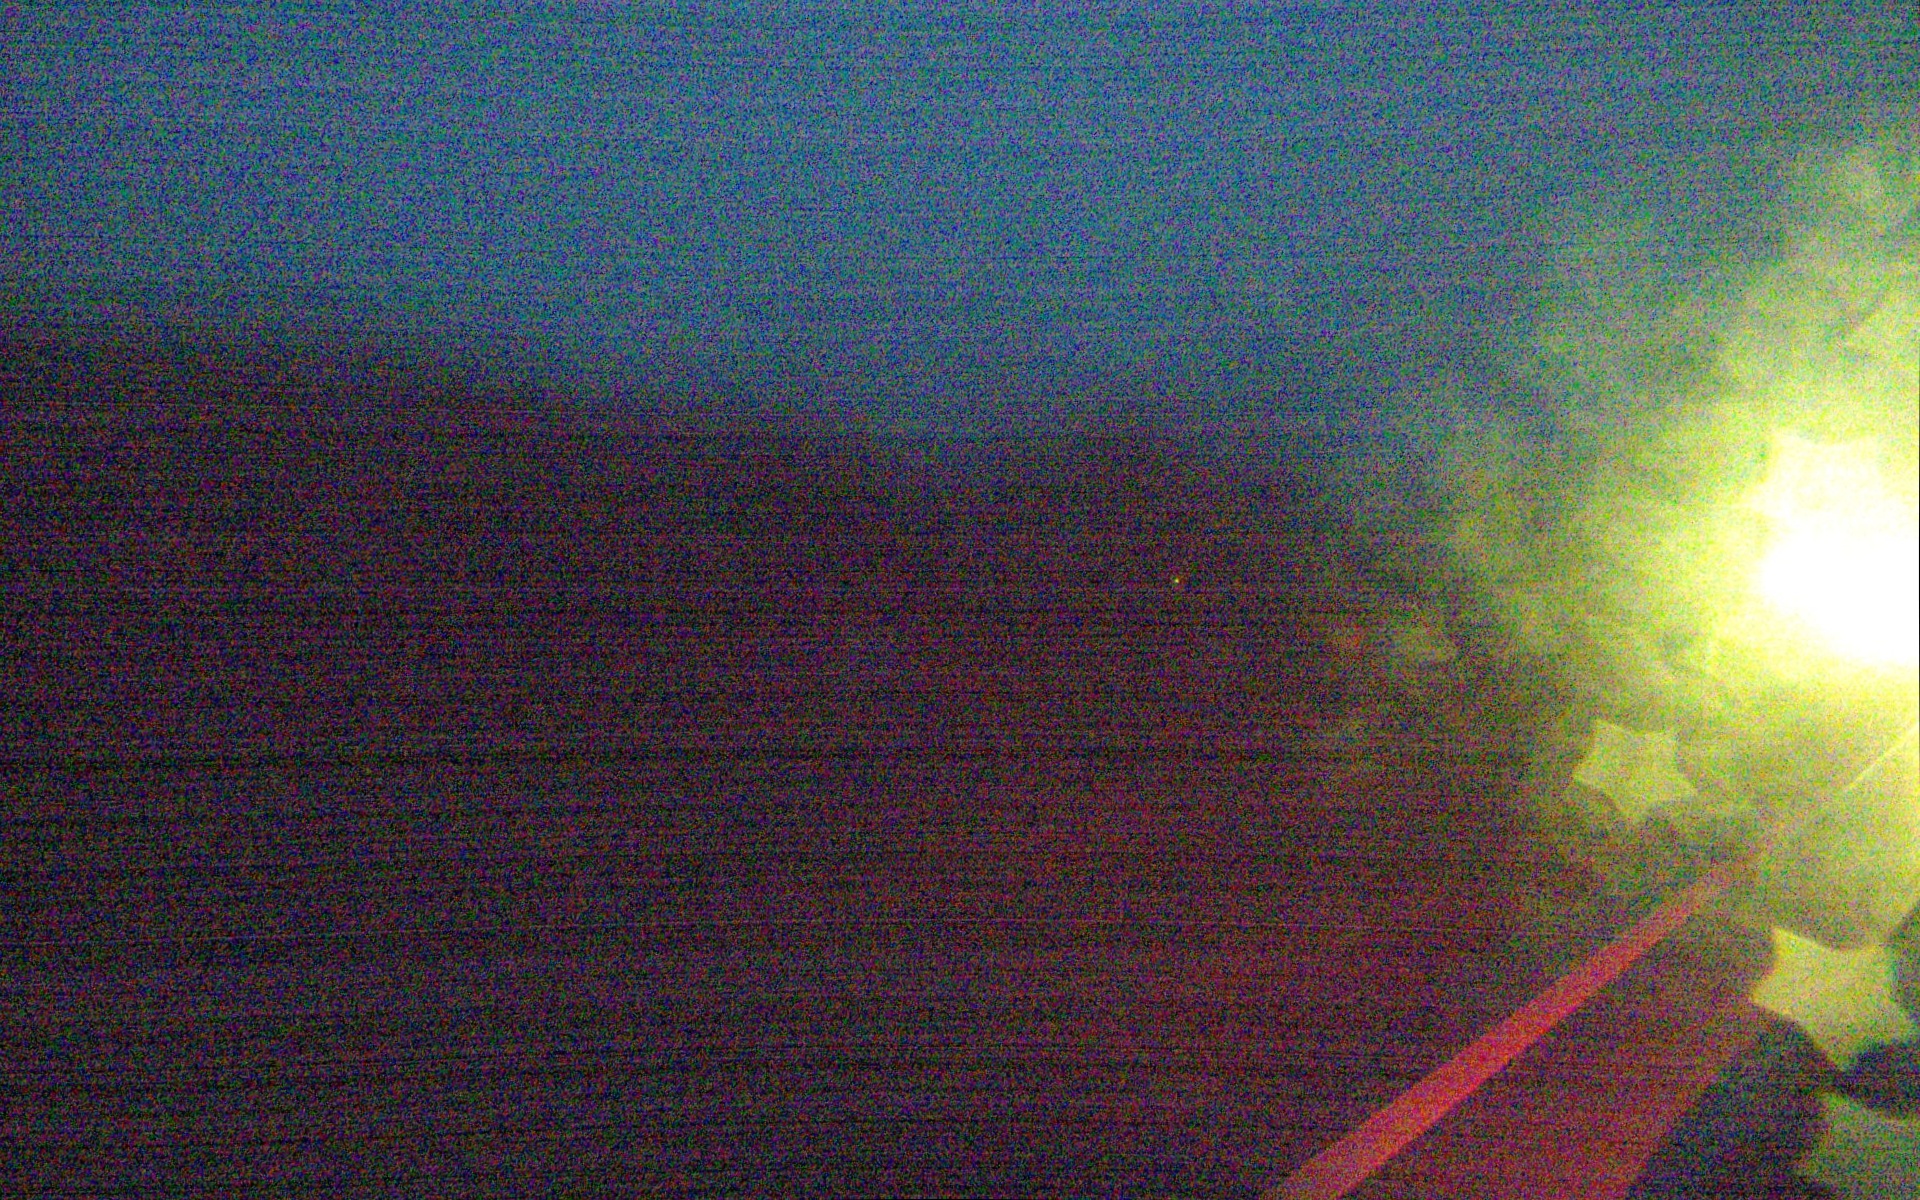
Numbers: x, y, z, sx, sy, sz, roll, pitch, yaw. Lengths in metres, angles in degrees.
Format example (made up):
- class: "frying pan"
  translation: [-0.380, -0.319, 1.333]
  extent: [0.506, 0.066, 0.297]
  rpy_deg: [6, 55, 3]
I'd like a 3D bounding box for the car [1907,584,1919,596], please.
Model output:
- class: "car"
  translation: [129.822, -1.401, 137.207]
  extent: [1.991, 1.644, 3.941]
  rpy_deg: [-1, 0, 41]
